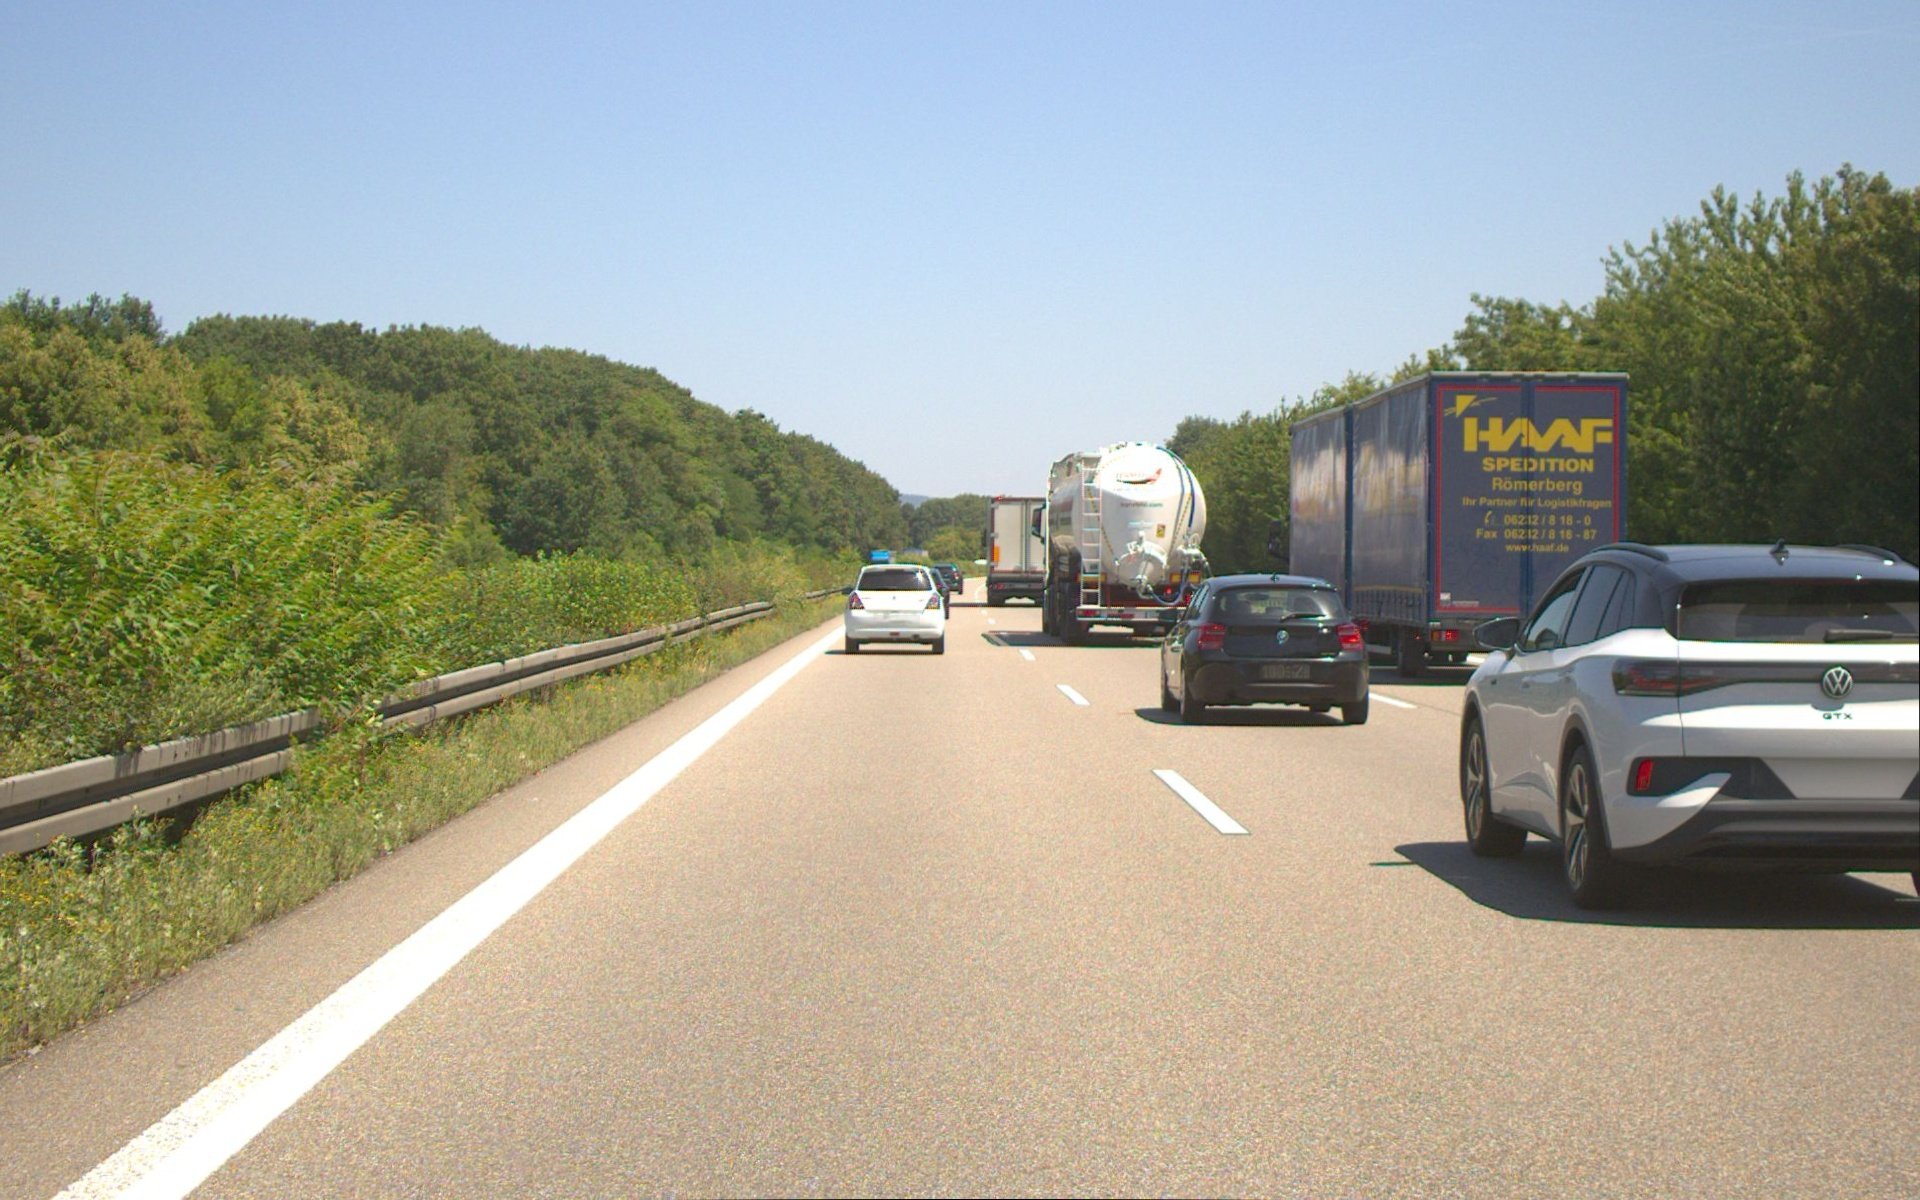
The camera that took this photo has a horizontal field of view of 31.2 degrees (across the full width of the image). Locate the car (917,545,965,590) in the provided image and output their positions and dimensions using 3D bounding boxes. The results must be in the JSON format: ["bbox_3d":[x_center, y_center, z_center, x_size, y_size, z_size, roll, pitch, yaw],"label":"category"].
[{"bbox_3d":[-1.022,-1.762,184.561,2.475,2.346,5.182,1,1,0],"label":"car"}]

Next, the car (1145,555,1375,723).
[{"bbox_3d":[2.887,0.335,33.838,1.850,1.518,3.957,1,1,0],"label":"car"}]

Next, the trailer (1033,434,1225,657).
[{"bbox_3d":[3.238,-1.097,69.393,2.911,4.055,12.419,1,1,-1],"label":"trailer"}]

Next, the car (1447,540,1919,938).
[{"bbox_3d":[3.555,0.536,16.175,1.802,1.597,4.381,1,1,-1],"label":"car"}]

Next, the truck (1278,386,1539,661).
[{"bbox_3d":[7.182,-1.230,56.275,3.109,4.124,8.056,1,1,0],"label":"truck"}]

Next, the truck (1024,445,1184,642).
[{"bbox_3d":[3.084,-1.230,75.419,2.911,4.065,7.196,1,1,-2],"label":"truck"}]

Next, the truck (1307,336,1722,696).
[{"bbox_3d":[7.216,-1.095,47.655,3.109,4.124,15.512,1,1,0],"label":"truck"}]

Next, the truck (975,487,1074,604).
[{"bbox_3d":[2.362,-2.078,130.798,3.394,4.199,12.084,1,1,0],"label":"truck"}]

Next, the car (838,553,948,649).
[{"bbox_3d":[-1.171,-0.008,58.807,1.799,1.546,3.610,1,1,-2],"label":"car"}]
